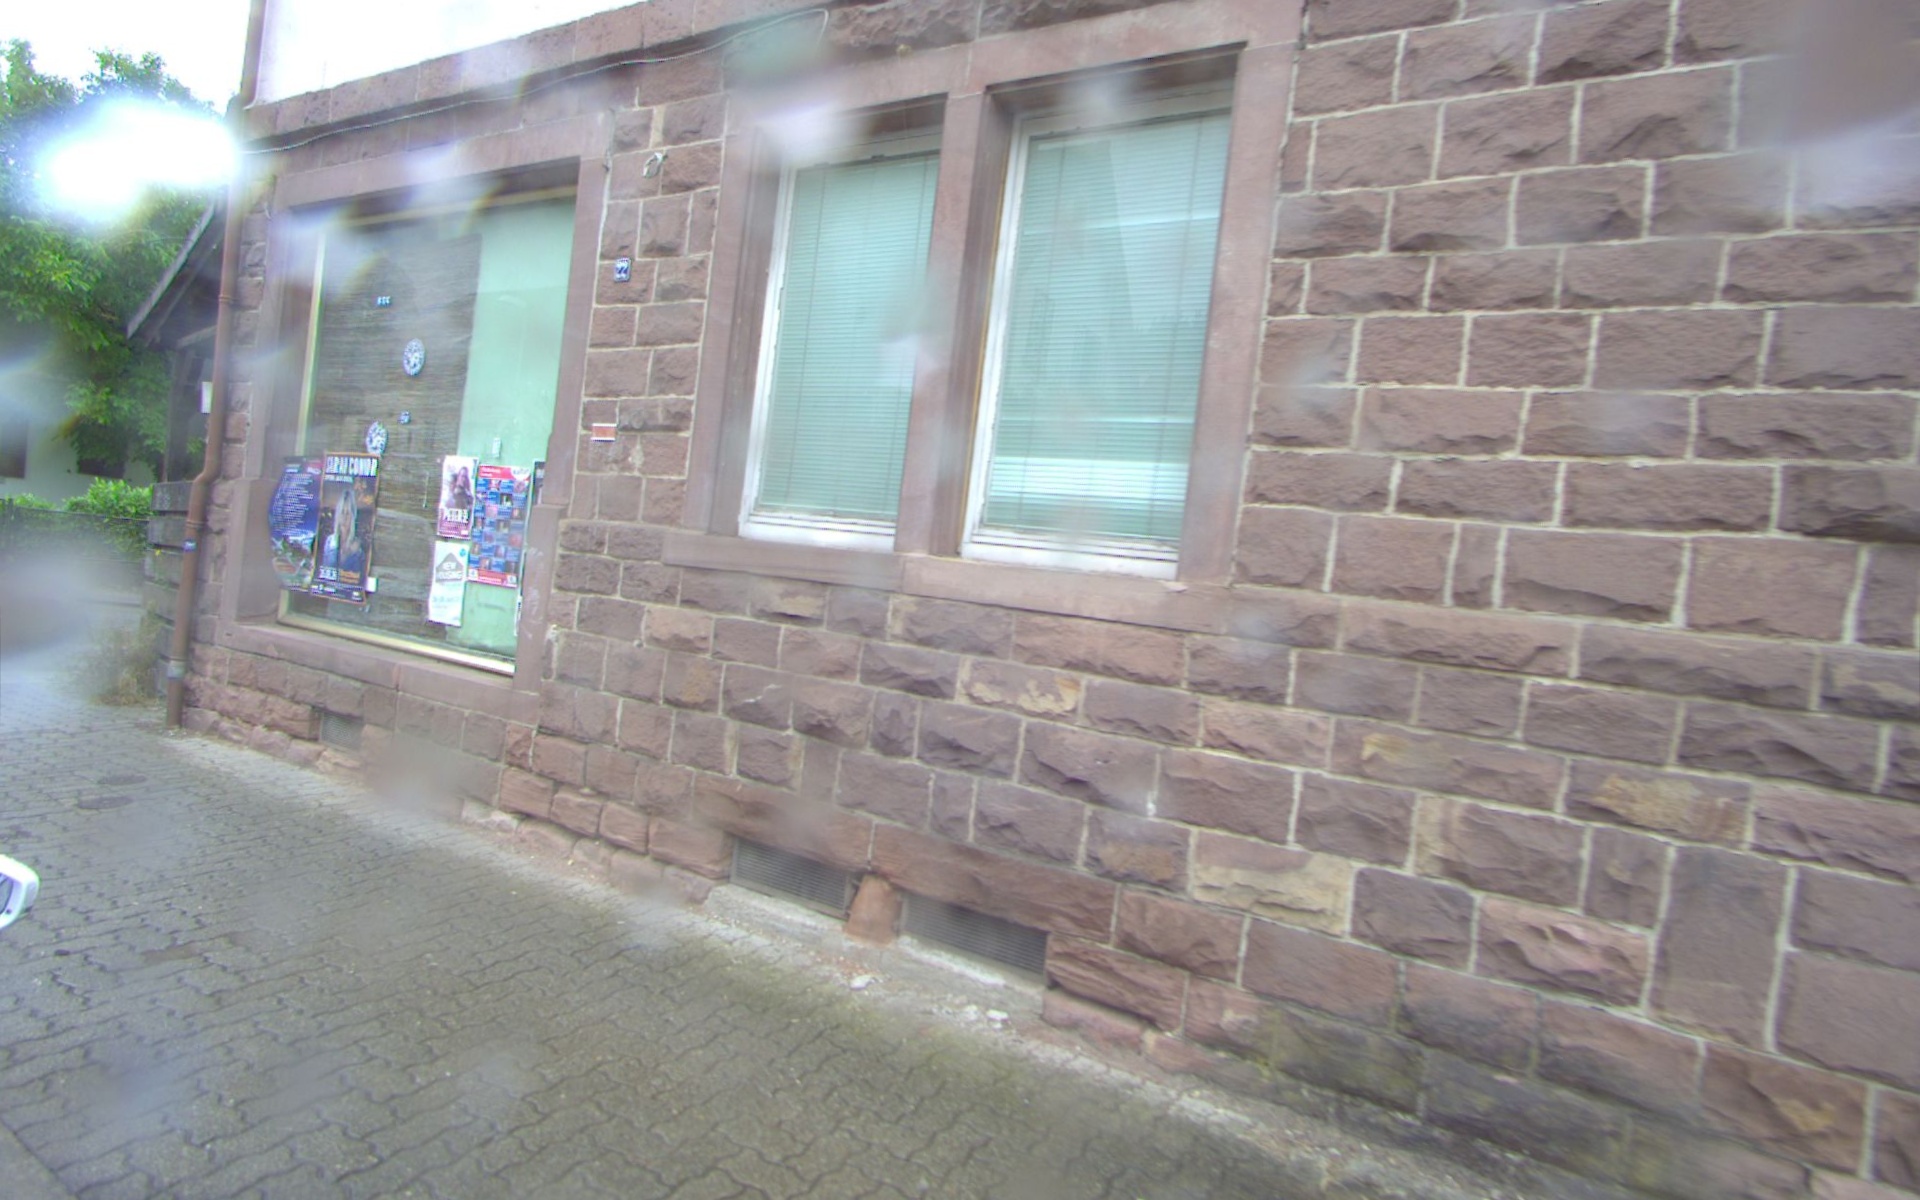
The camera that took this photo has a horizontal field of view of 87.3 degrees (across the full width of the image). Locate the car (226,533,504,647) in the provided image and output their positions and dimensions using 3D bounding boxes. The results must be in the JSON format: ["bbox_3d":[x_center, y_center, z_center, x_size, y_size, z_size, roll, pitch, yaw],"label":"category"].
[{"bbox_3d":[-10.826,-0.148,18.480,3.979,1.483,1.762,10,-3,-44],"label":"car"}]
